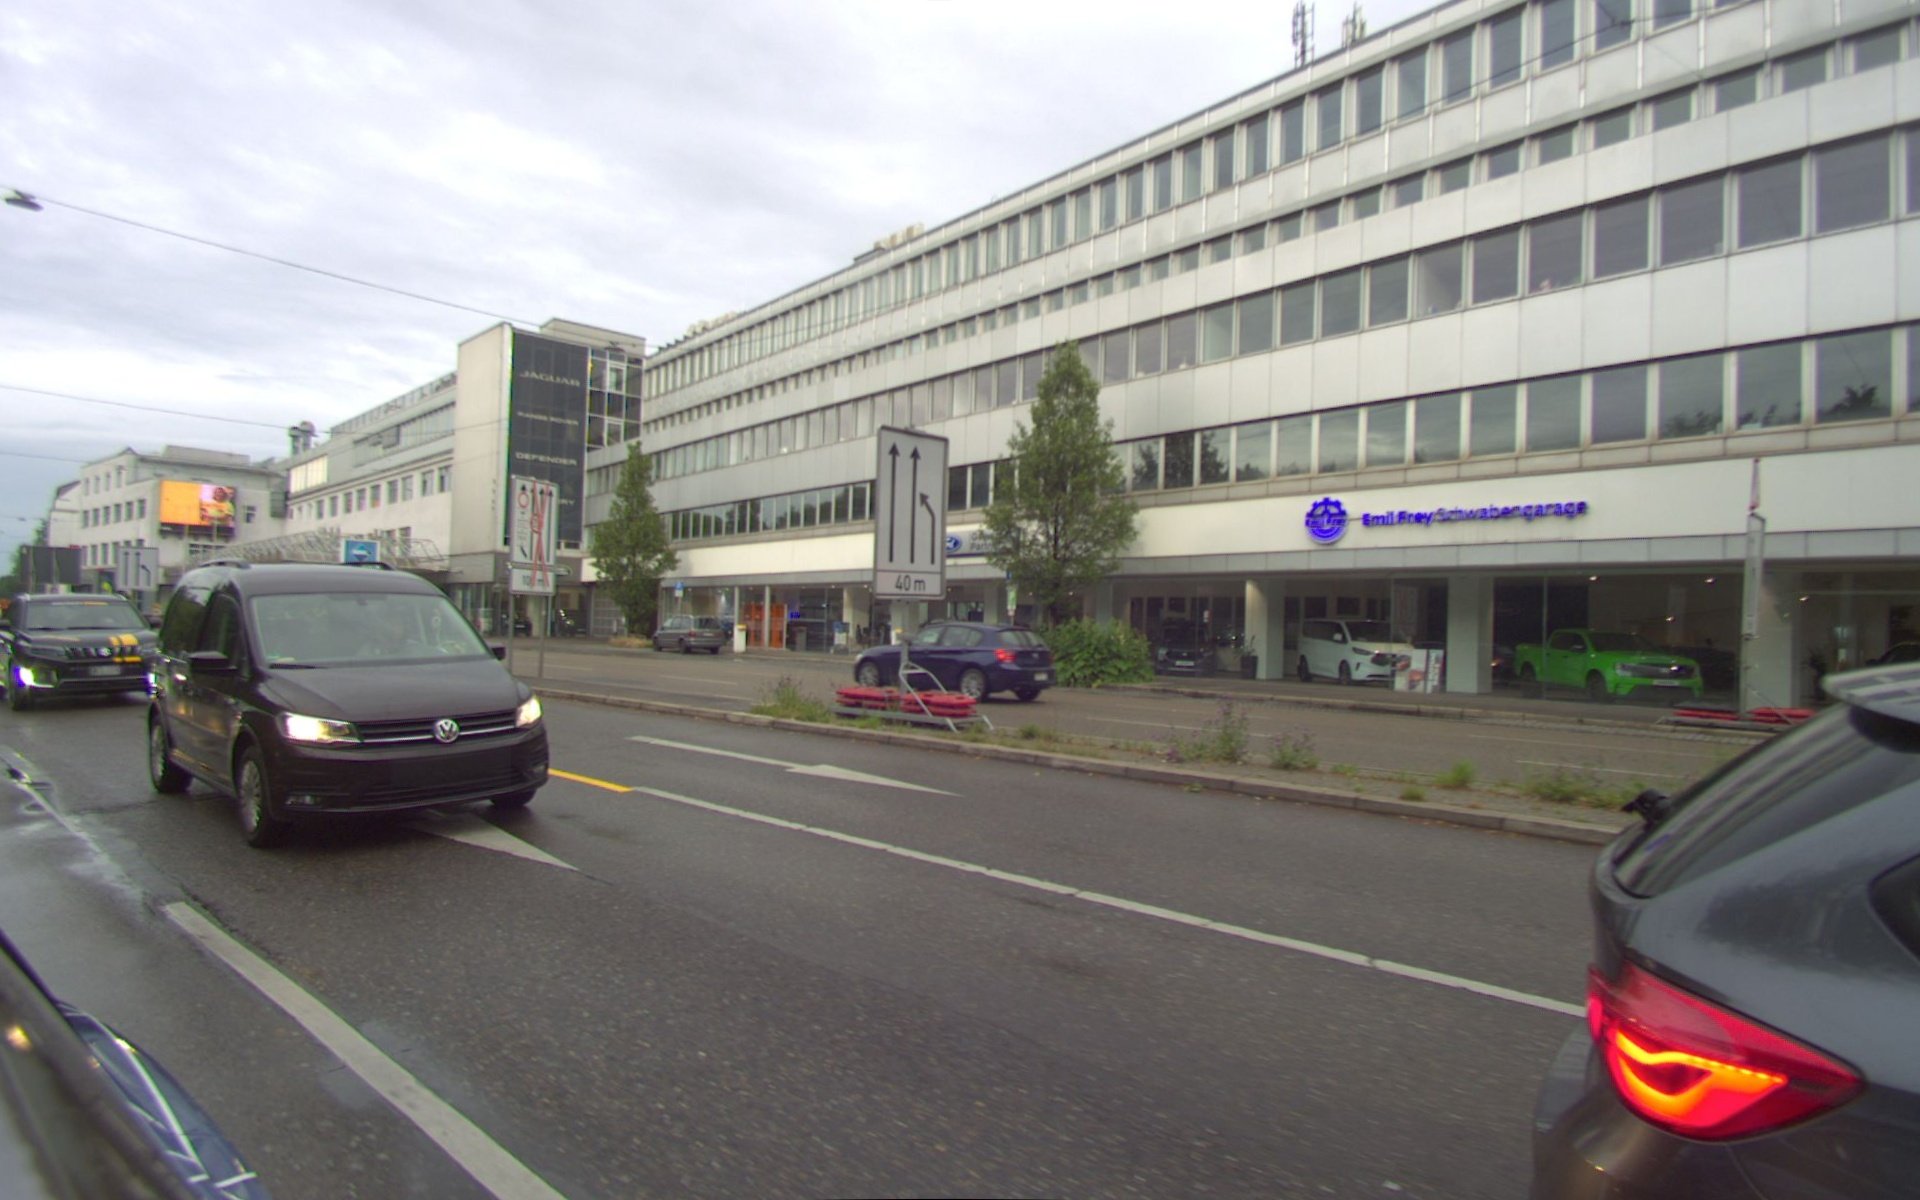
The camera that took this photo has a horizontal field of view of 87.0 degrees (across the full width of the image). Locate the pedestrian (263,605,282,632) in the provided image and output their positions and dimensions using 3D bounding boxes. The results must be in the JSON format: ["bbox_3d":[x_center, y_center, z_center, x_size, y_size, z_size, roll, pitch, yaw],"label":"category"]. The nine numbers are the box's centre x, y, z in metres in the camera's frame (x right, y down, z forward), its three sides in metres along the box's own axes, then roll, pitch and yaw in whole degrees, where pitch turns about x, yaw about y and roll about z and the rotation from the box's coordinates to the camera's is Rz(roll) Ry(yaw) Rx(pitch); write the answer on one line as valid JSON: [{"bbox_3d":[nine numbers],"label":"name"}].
[{"bbox_3d":[-46.868,1.234,69.027,0.941,1.828,0.883,0,1,44],"label":"pedestrian"}]

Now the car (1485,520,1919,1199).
[{"bbox_3d":[2.910,0.669,0.451,4.476,1.469,1.757,0,-2,42],"label":"car"}]

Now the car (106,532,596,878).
[{"bbox_3d":[-4.712,0.545,7.525,4.429,1.828,1.880,0,1,42],"label":"car"}]

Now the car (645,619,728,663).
[{"bbox_3d":[-12.615,1.826,46.544,1.896,1.829,4.168,-1,1,-44],"label":"car"}]

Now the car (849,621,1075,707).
[{"bbox_3d":[-0.041,1.137,19.040,4.214,1.430,1.668,-1,-3,42],"label":"car"}]

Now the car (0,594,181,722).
[{"bbox_3d":[-13.157,0.741,14.974,4.332,1.611,1.790,0,1,42],"label":"car"}]
